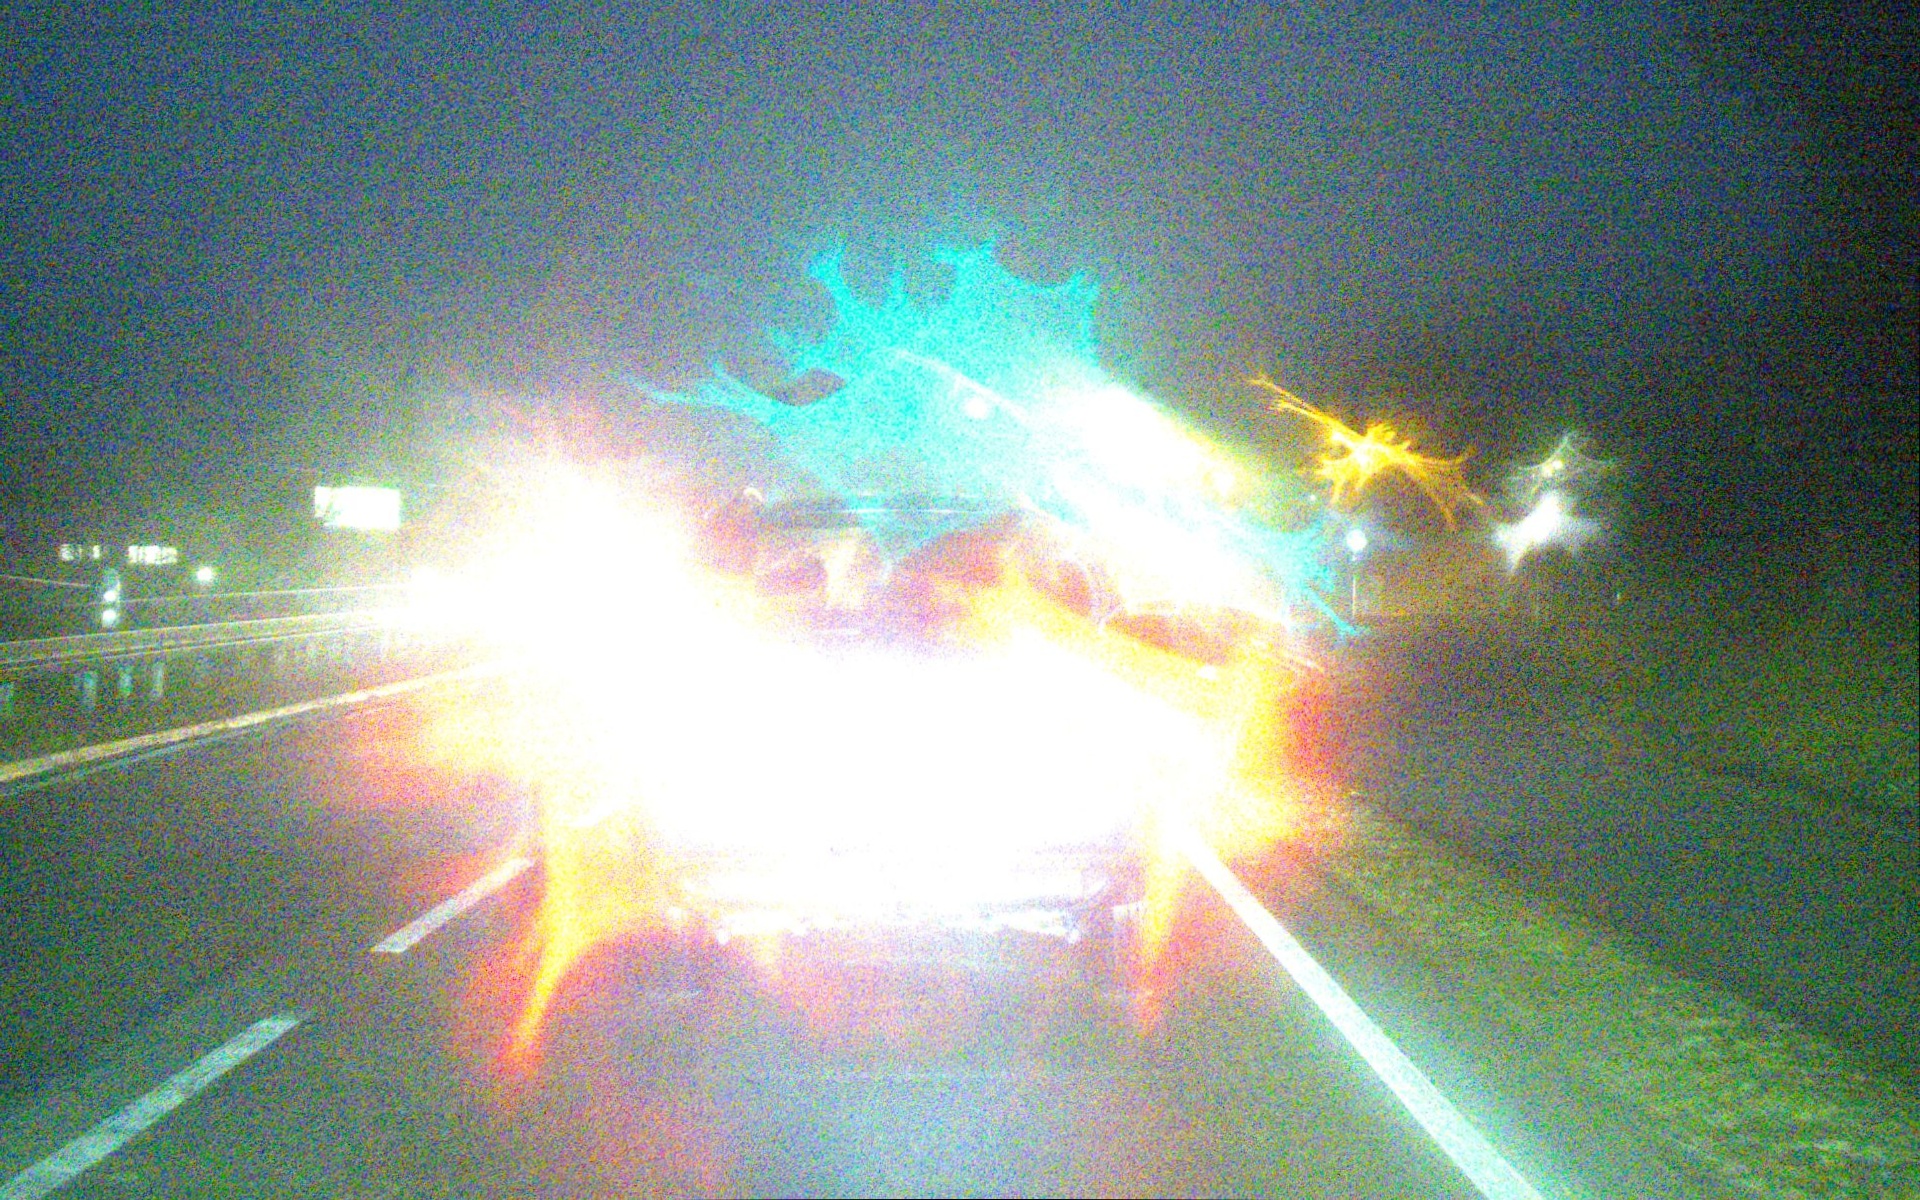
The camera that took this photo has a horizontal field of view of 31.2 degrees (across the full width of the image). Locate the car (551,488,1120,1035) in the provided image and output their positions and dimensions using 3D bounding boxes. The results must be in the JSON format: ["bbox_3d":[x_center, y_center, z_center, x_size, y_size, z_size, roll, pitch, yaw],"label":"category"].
[{"bbox_3d":[-0.394,0.498,12.800,1.775,1.706,4.000,0,0,0],"label":"car"}]
